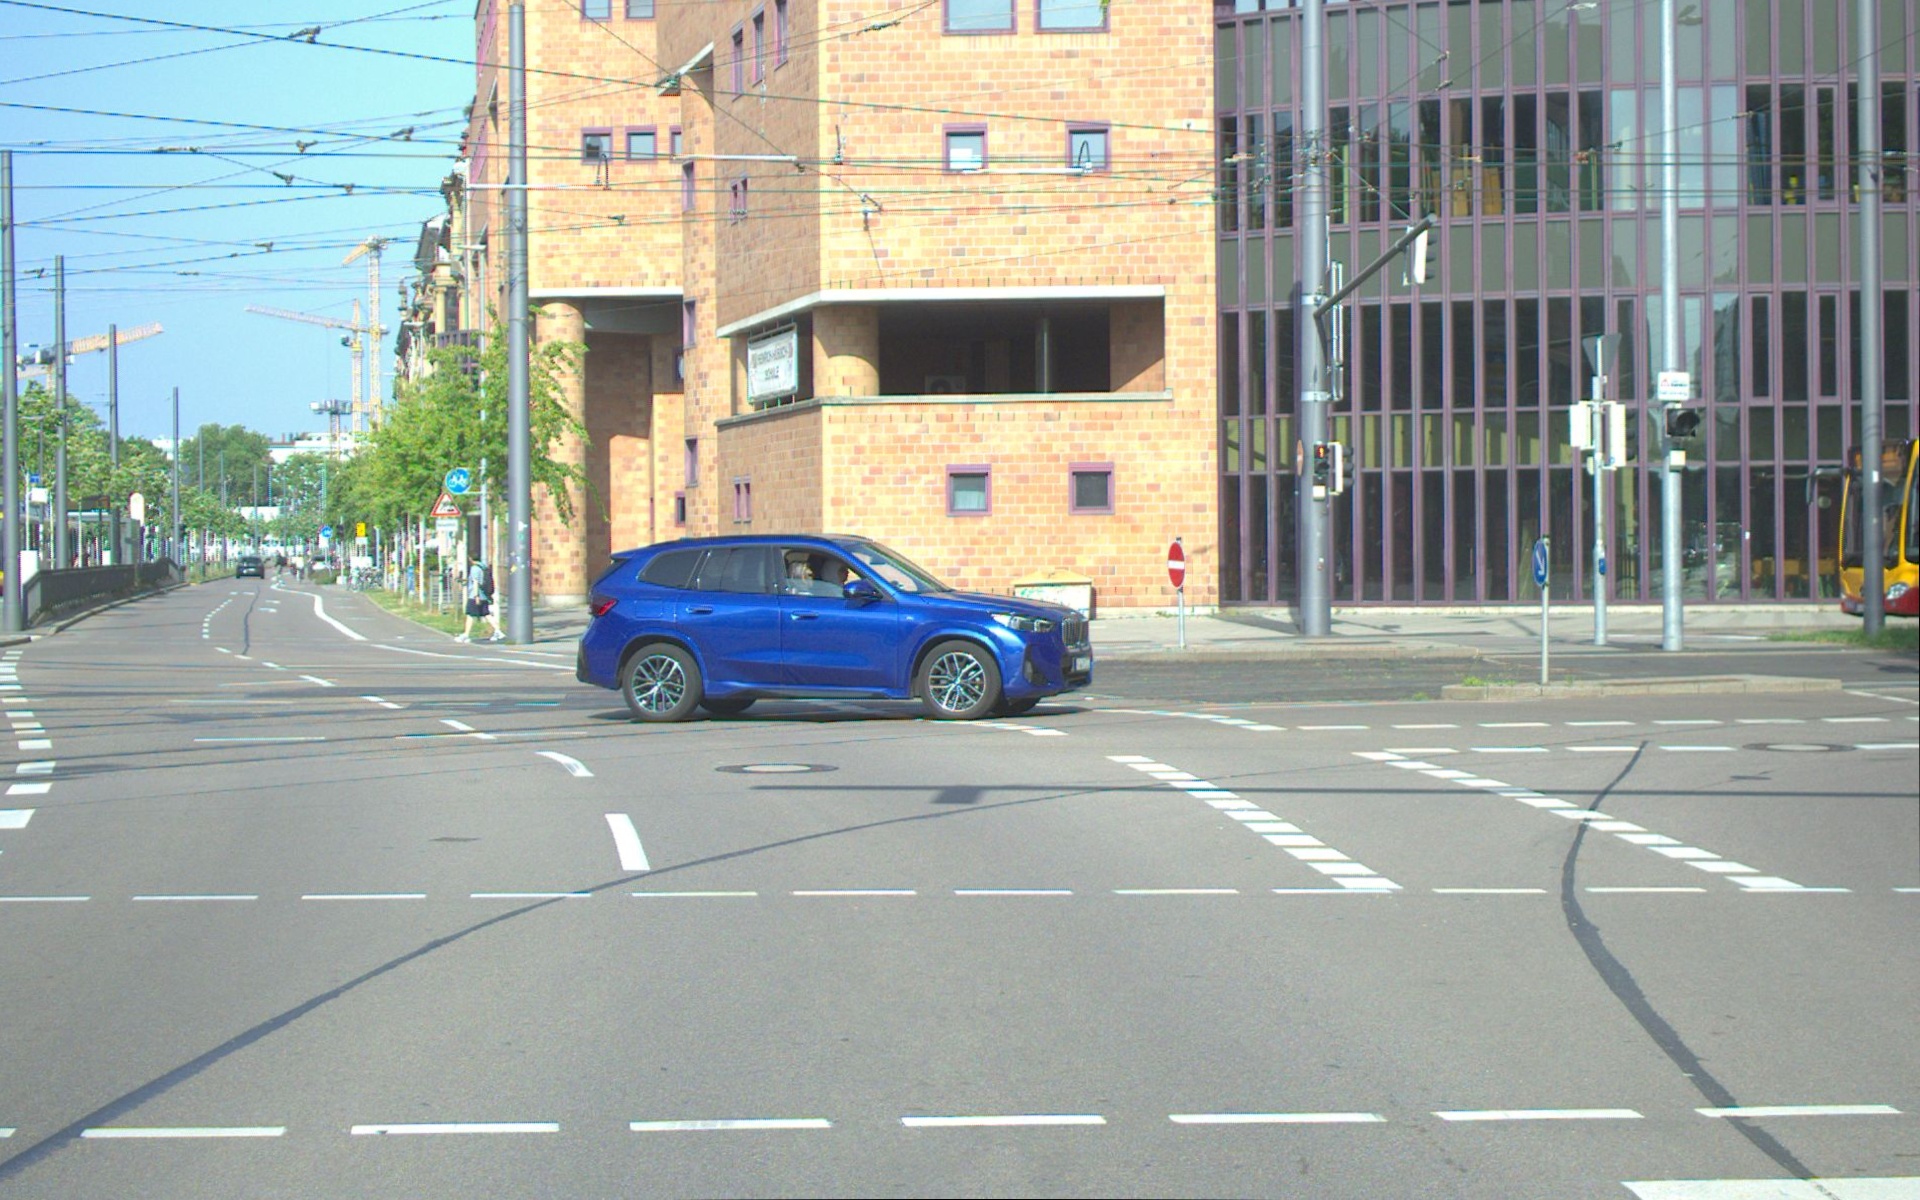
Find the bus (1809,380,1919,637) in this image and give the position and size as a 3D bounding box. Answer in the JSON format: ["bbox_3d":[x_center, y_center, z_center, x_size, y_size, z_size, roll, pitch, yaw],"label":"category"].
[{"bbox_3d":[22.171,-1.419,53.458,17.605,3.797,2.866,-1,-1,-9],"label":"bus"}]

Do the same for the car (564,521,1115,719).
[{"bbox_3d":[-1.032,0.190,30.104,4.403,1.630,1.990,-1,-1,18],"label":"car"}]

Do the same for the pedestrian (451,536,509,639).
[{"bbox_3d":[-9.422,-0.246,67.504,0.841,2.007,0.810,0,1,16],"label":"pedestrian"}]

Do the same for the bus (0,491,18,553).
[{"bbox_3d":[-31.996,-2.536,112.649,1.993,2.007,4.001,0,1,-12],"label":"bus"}]

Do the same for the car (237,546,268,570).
[{"bbox_3d":[-48.499,-2.885,235.658,2.073,1.537,4.415,-1,0,-11],"label":"car"}]
